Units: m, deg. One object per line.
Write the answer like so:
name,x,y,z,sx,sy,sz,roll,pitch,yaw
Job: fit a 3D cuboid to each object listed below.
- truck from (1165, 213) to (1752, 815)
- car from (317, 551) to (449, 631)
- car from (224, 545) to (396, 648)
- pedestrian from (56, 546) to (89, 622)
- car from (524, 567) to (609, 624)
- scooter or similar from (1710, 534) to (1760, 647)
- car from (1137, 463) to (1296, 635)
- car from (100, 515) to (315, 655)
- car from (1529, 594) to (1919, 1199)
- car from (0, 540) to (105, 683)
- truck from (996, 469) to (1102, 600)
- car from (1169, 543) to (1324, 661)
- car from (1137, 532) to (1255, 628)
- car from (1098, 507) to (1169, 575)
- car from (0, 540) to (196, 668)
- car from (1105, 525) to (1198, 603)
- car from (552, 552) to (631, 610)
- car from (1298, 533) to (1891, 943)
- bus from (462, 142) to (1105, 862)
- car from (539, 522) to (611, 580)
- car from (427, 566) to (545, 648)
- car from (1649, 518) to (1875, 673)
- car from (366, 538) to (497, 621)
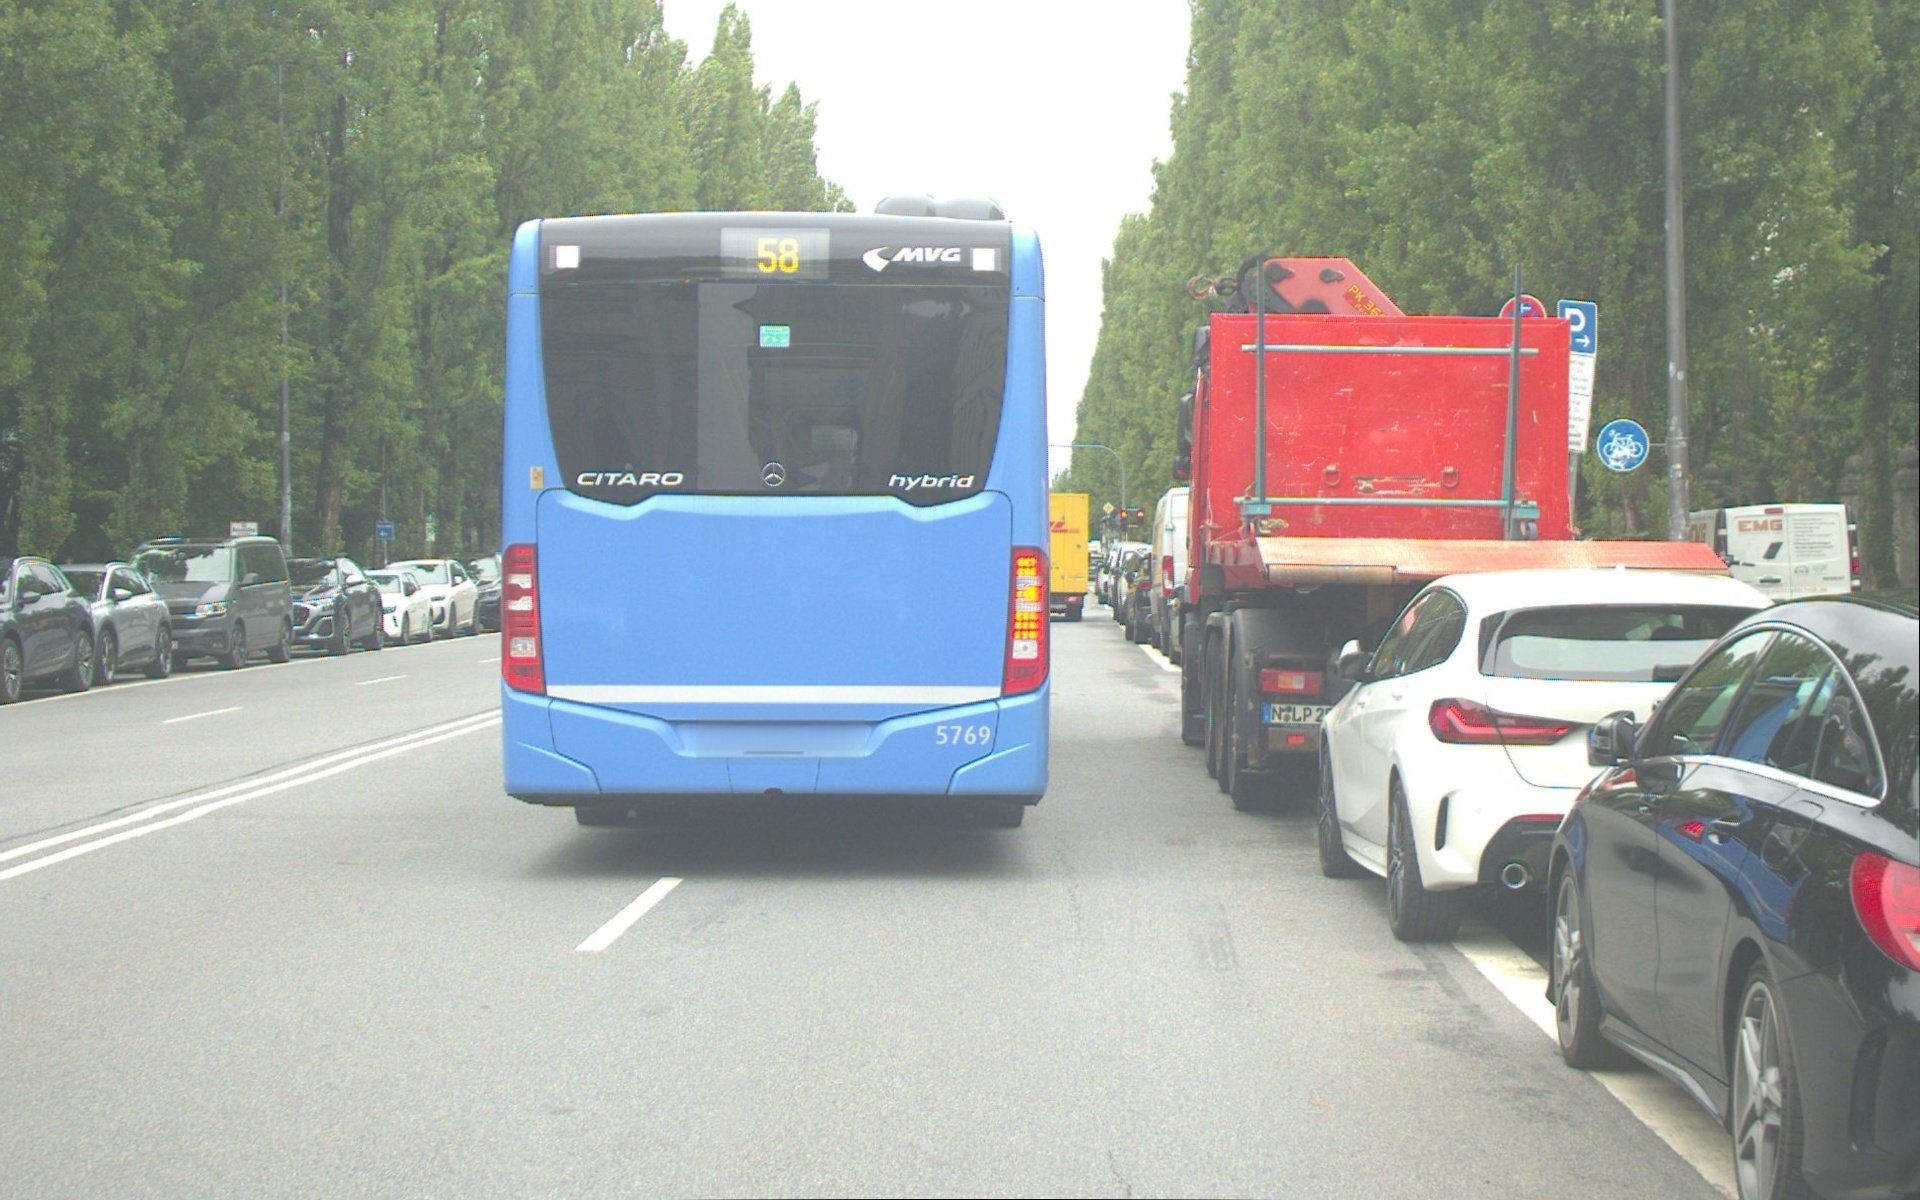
truck,2.890,-0.503,23.028,2.713,3.099,10.426,0,1,2
car,-10.916,-0.175,65.262,1.676,1.417,4.237,-2,0,1
car,-10.990,-0.072,58.475,1.815,1.603,5.053,-2,0,1
pedestrian,-20.346,-0.367,78.829,0.549,1.741,0.673,0,0,1
car,-10.323,-0.140,90.376,1.685,1.408,4.004,-2,0,1
scooter or similar,8.769,-0.109,38.904,0.336,1.261,1.186,0,0,2
car,3.900,-0.782,53.218,2.074,2.470,6.283,1,1,1
car,-11.255,-0.254,51.757,1.993,1.950,4.937,-2,1,1
car,2.540,0.666,8.410,1.735,1.305,4.370,0,1,2
car,-11.513,0.128,40.133,1.782,1.590,4.613,-2,1,1
truck,2.014,-1.474,79.103,2.327,2.888,7.333,0,1,1
car,3.782,-0.003,45.918,1.754,1.445,4.000,2,1,1
car,4.053,-0.354,59.577,1.821,1.585,4.223,1,1,1
car,5.264,-1.790,105.012,2.052,2.007,5.692,0,1,2
car,-11.668,0.029,45.681,1.890,1.579,4.654,-1,1,1
car,4.104,-0.768,74.165,1.781,1.576,4.147,2,1,1
car,-10.658,-0.560,99.687,1.814,1.637,4.000,0,1,1
car,2.486,0.465,14.470,1.788,1.455,4.217,1,1,1
bus,-0.864,-0.491,19.931,2.855,3.202,9.060,0,1,-1
car,-10.621,-1.333,95.059,1.743,1.513,4.118,-2,0,-4
car,-10.515,0.124,76.531,1.880,1.653,4.718,-3,1,0
car,10.564,-0.072,45.659,1.993,1.939,5.083,0,0,2
car,-10.782,-0.448,70.415,1.785,1.583,4.461,-2,1,2
